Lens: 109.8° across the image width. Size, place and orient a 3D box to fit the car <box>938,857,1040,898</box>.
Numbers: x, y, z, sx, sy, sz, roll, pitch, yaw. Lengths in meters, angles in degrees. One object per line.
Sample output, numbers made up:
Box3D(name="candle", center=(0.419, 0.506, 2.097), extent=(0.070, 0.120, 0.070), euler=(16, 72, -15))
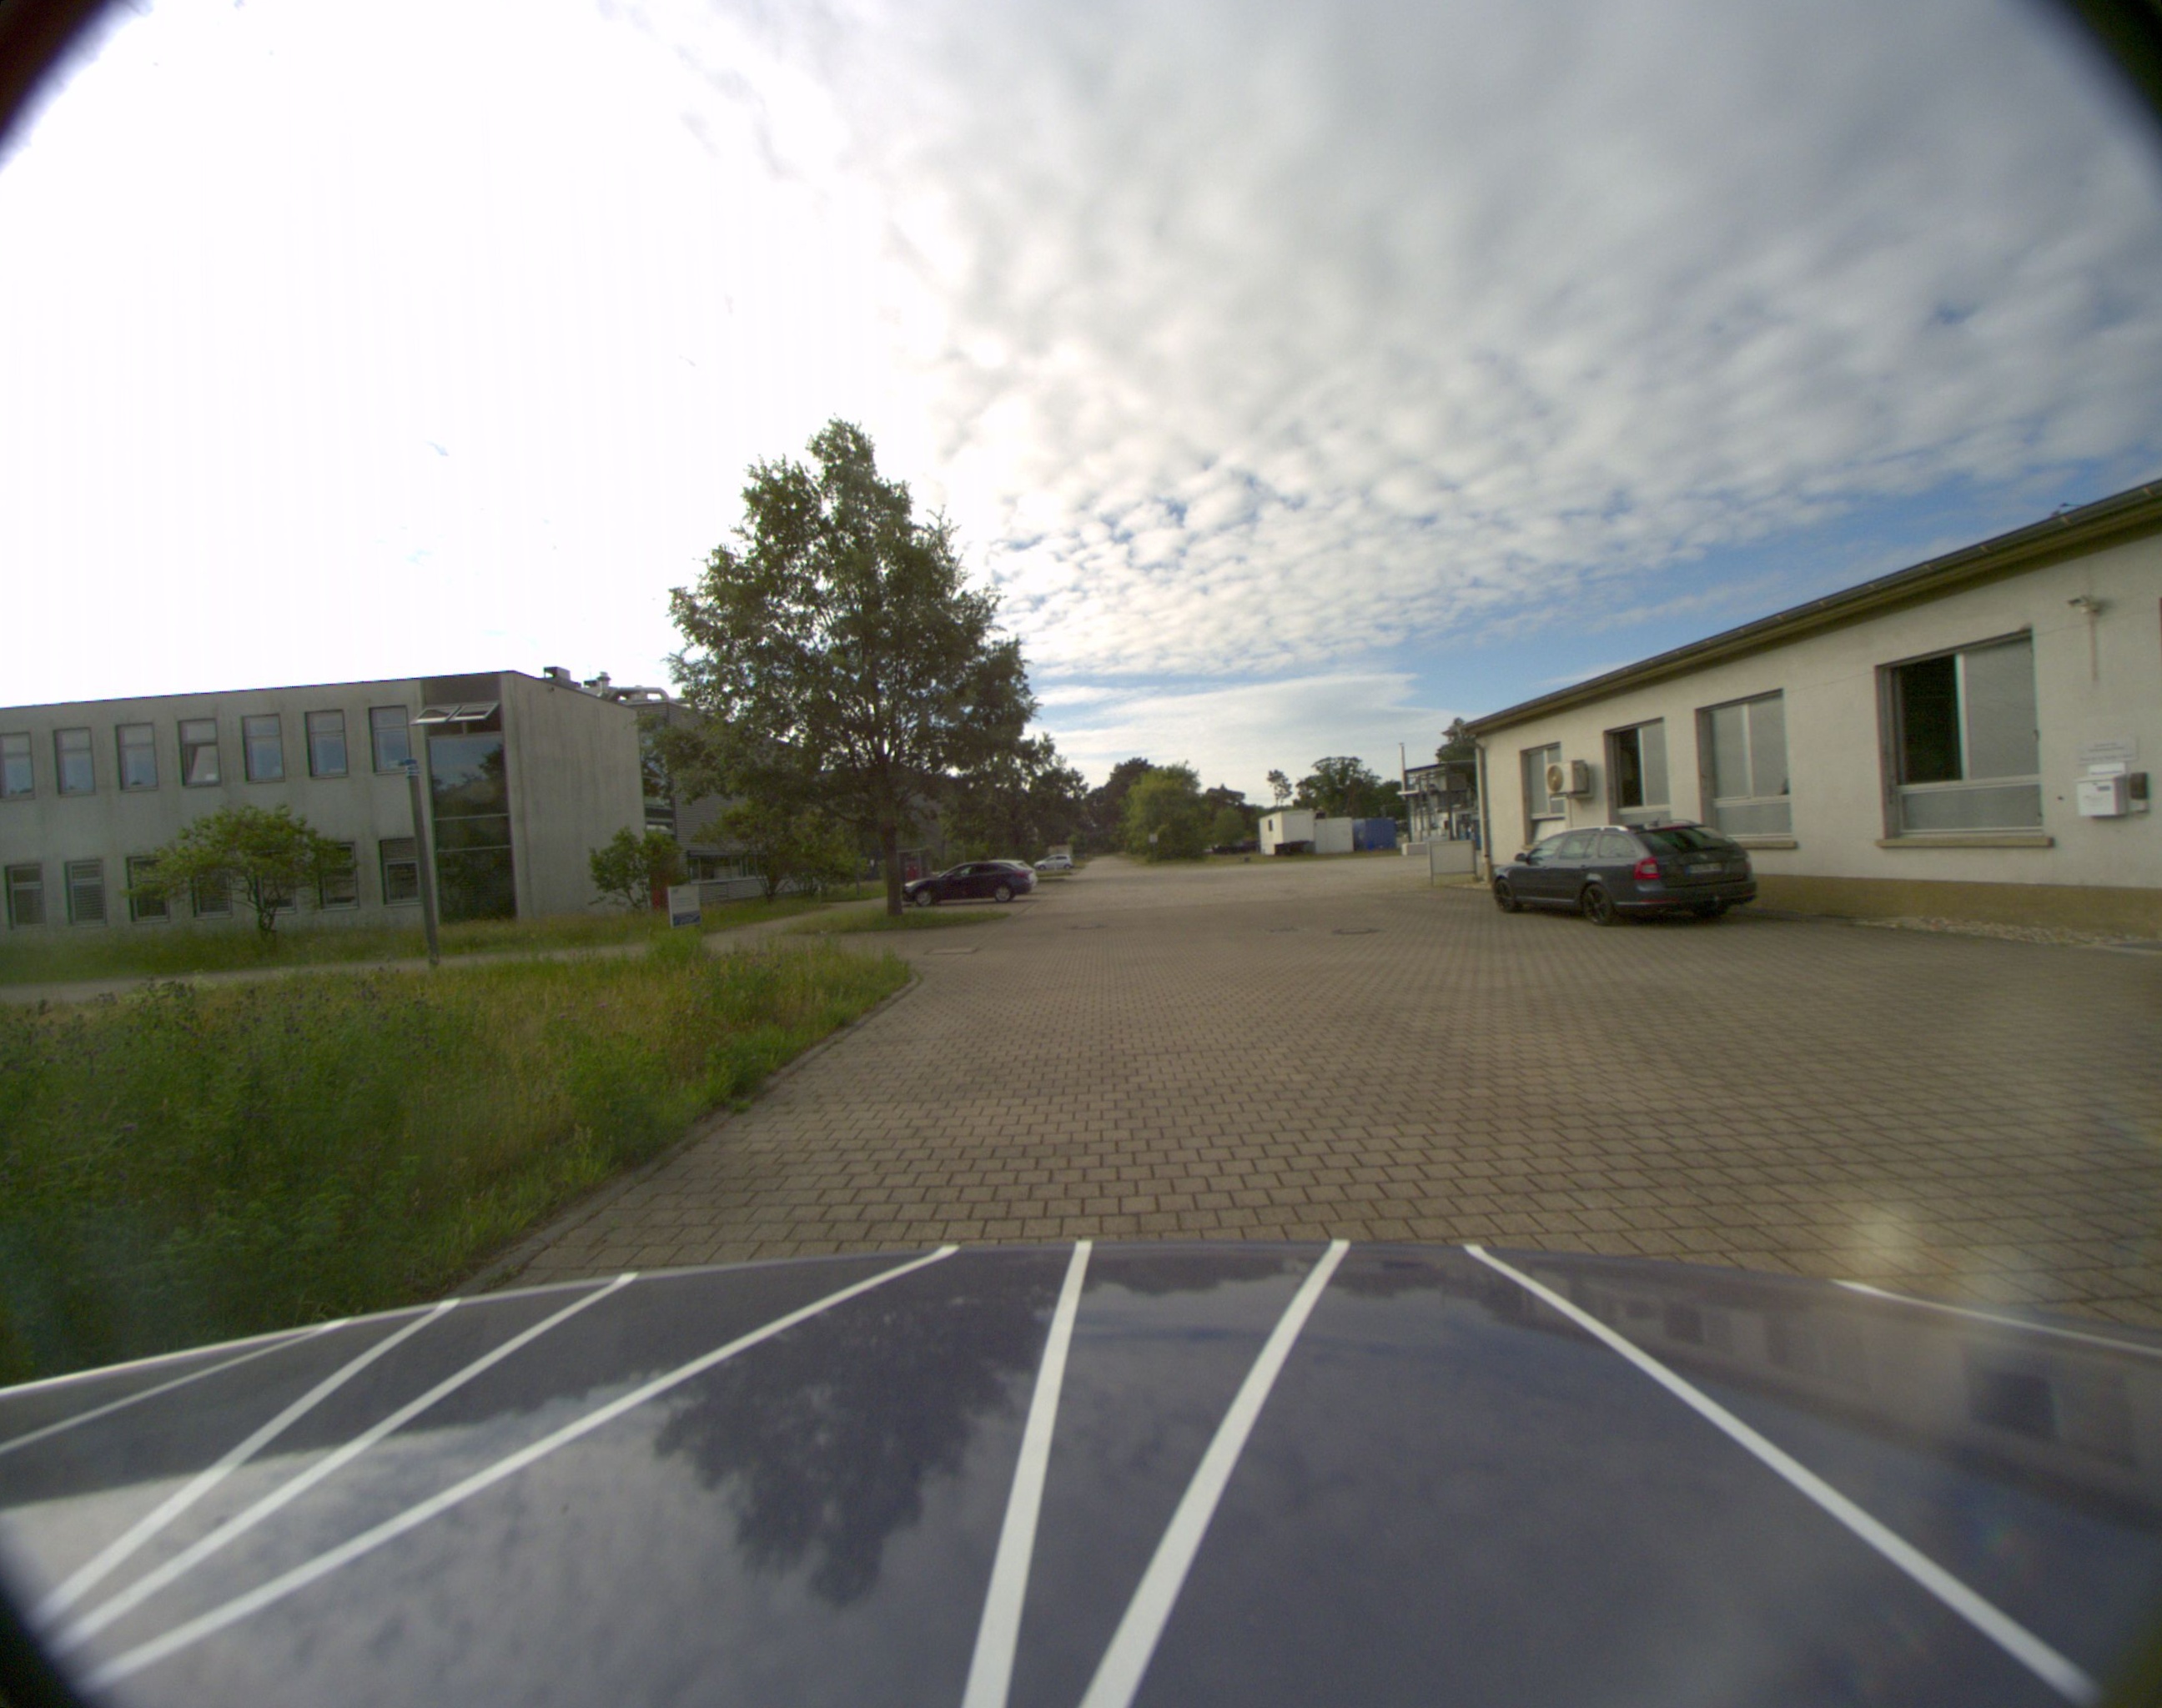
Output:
Box3D(name="car", center=(-3.818, 0.980, 32.156), extent=(3.985, 1.458, 1.883), euler=(-3, 1, 1))

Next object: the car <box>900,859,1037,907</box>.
Box3D(name="car", center=(-3.889, 1.011, 26.924), extent=(4.474, 1.439, 1.944), euler=(-2, 1, 1))

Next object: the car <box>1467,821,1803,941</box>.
Box3D(name="car", center=(8.460, 0.343, 12.336), extent=(1.929, 1.452, 4.811), euler=(-4, 0, 1))

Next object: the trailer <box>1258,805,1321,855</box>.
Box3D(name="trailer", center=(17.346, -1.906, 63.960), extent=(2.875, 3.641, 10.779), euler=(-4, 0, 4))

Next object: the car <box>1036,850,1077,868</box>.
Box3D(name="car", center=(-2.464, 0.527, 78.341), extent=(4.131, 1.615, 1.939), euler=(-2, 1, -1))
